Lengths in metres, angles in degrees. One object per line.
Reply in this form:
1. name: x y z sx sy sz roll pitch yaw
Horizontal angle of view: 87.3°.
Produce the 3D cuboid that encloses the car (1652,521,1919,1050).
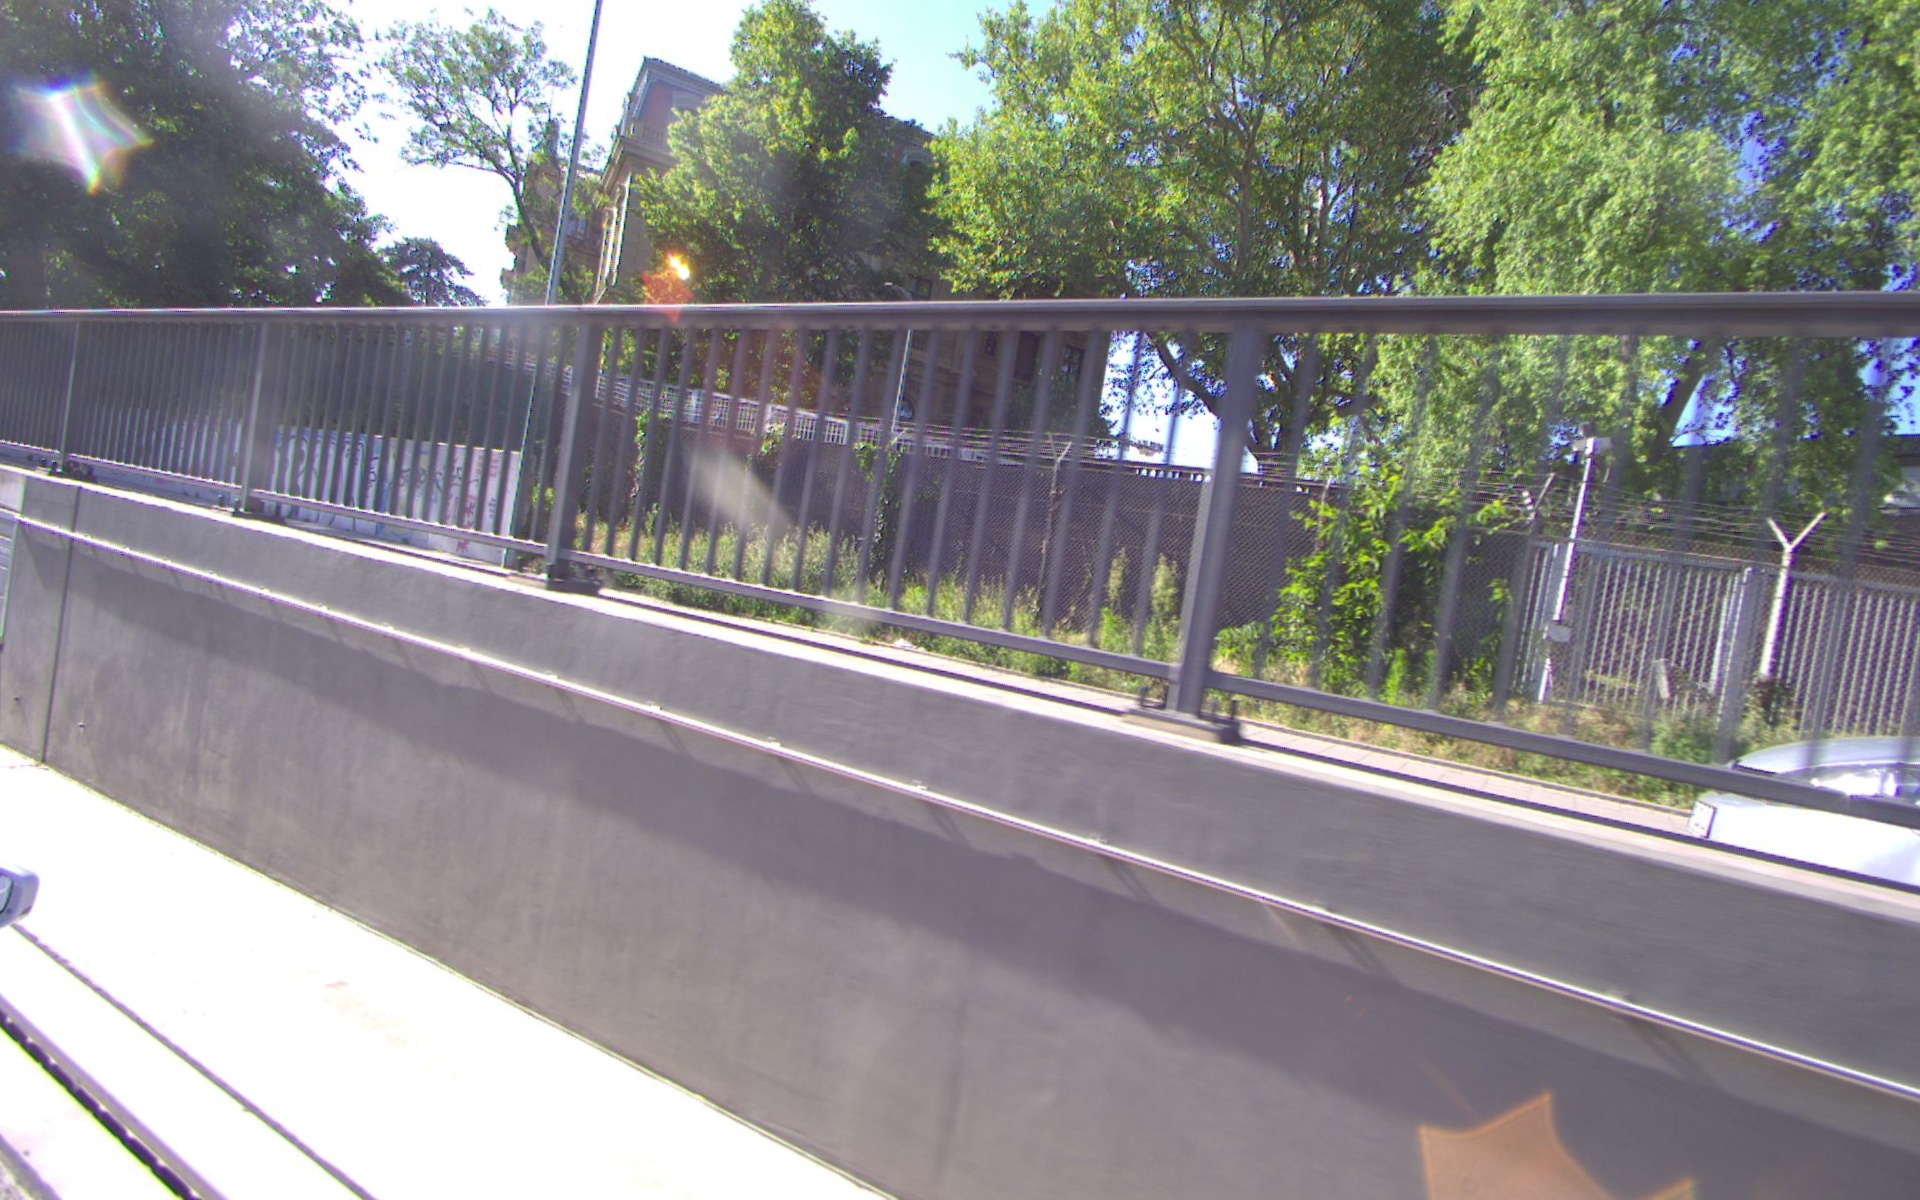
1. car: 4.468 0.820 2.788 3.905 1.452 1.670 9 0 30
